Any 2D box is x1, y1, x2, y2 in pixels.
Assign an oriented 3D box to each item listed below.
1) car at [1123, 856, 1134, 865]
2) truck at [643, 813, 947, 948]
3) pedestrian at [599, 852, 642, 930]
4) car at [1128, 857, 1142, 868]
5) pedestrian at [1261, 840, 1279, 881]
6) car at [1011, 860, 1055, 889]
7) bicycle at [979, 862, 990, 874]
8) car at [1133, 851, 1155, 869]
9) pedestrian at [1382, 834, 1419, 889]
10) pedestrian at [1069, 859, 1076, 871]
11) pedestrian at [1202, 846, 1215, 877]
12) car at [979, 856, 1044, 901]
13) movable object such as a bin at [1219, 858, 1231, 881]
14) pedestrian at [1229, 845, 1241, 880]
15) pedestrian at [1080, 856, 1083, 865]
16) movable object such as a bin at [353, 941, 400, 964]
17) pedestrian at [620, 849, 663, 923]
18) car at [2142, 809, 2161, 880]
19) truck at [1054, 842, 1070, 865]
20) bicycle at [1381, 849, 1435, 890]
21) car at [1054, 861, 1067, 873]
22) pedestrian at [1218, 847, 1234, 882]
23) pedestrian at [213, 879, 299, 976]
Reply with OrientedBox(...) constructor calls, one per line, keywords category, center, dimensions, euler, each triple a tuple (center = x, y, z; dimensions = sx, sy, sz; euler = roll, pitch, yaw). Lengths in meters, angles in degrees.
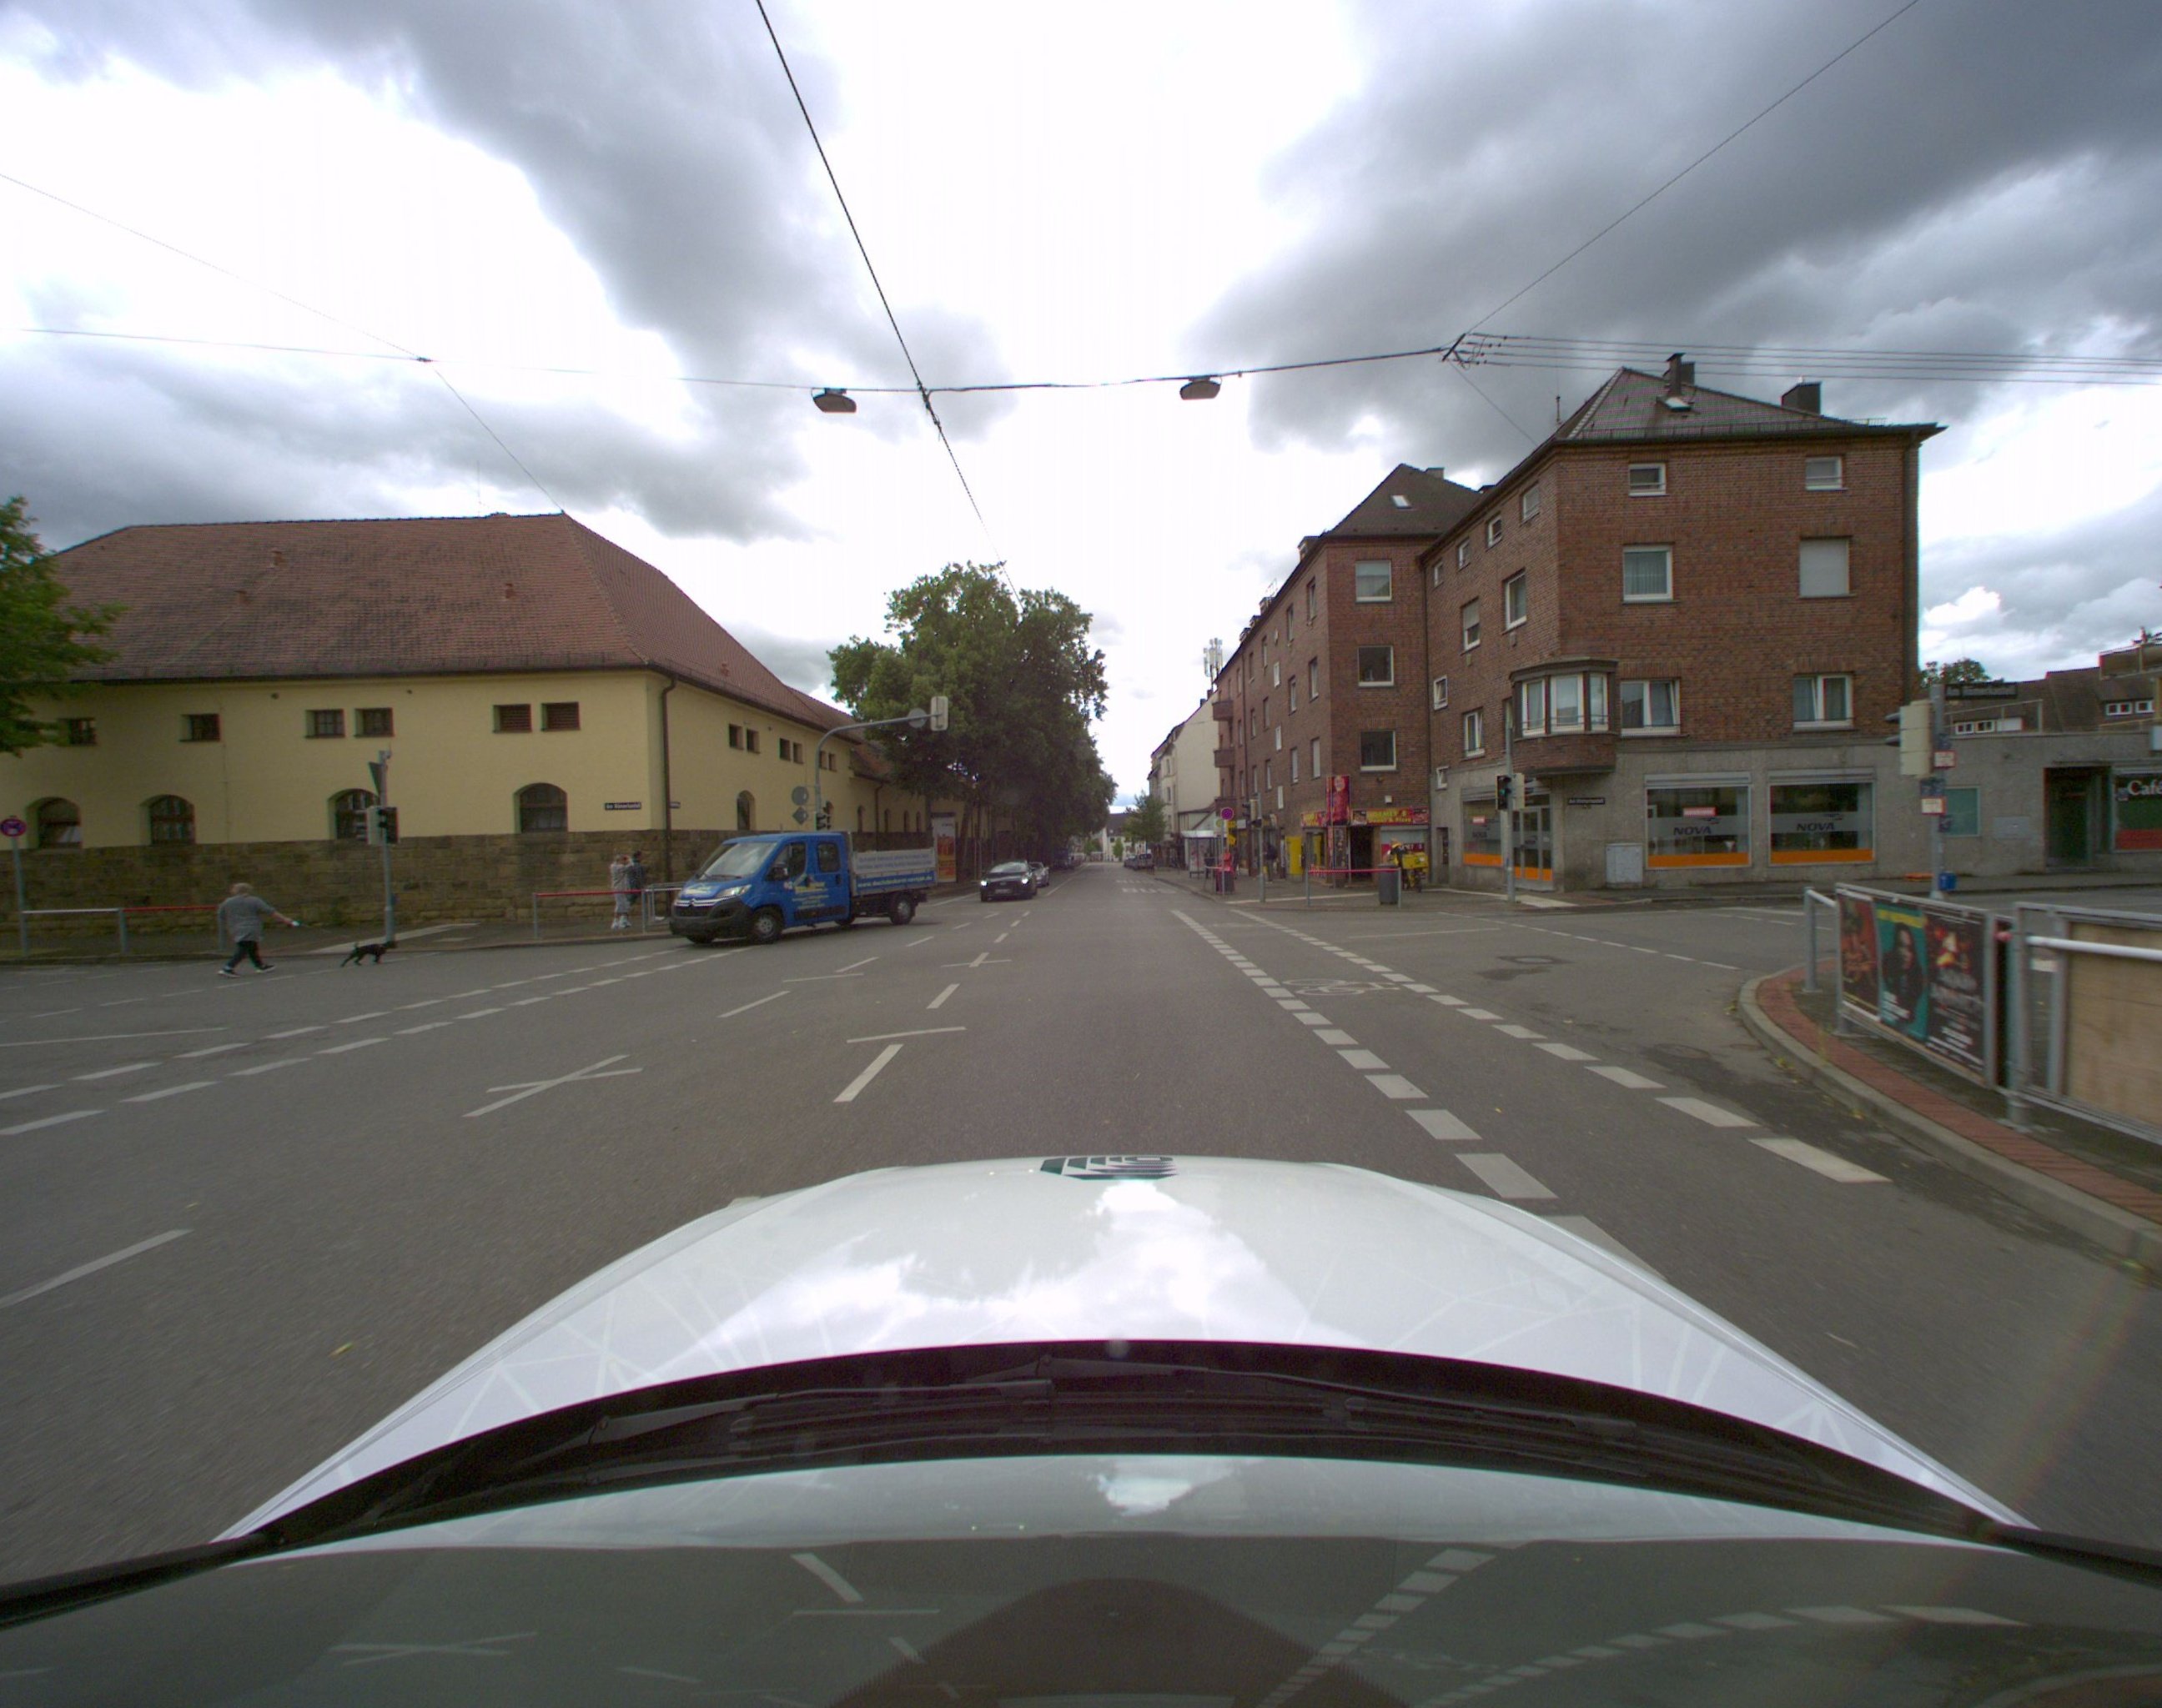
OrientedBox(category="car", center=(8.406, 1.135, 144.266), dimensions=(1.664, 1.547, 3.754), euler=(-1, 0, -1))
OrientedBox(category="truck", center=(-5.897, 0.464, 18.027), dimensions=(2.274, 2.427, 6.450), euler=(-3, 0, 27))
OrientedBox(category="pedestrian", center=(-10.805, 0.847, 19.111), dimensions=(0.562, 1.777, 0.717), euler=(-1, 0, 1))
OrientedBox(category="car", center=(7.534, 1.206, 114.483), dimensions=(1.664, 1.547, 3.754), euler=(-1, 0, -1))
OrientedBox(category="pedestrian", center=(8.264, 0.275, 35.542), dimensions=(0.644, 1.750, 0.779), euler=(-1, 0, 7))
OrientedBox(category="car", center=(-2.373, 1.004, 41.434), dimensions=(1.678, 1.275, 4.098), euler=(-4, -1, 3))
OrientedBox(category="bicycle", center=(-9.104, 1.332, 76.820), dimensions=(0.594, 1.091, 2.196), euler=(1, 0, 3))
OrientedBox(category="car", center=(7.003, 0.623, 91.042), dimensions=(1.988, 1.936, 4.916), euler=(-1, 0, -1))
OrientedBox(category="pedestrian", center=(10.004, 0.242, 25.522), dimensions=(0.785, 1.656, 0.772), euler=(-4, 0, 2))
OrientedBox(category="pedestrian", center=(-1.086, 1.505, 108.348), dimensions=(0.677, 1.536, 0.605), euler=(-1, -1, -30))
OrientedBox(category="pedestrian", center=(7.213, 0.424, 46.046), dimensions=(0.666, 1.727, 0.765), euler=(-1, 0, 7))
OrientedBox(category="car", center=(-2.459, 0.835, 29.607), dimensions=(1.696, 1.414, 4.195), euler=(-3, 0, 3))
OrientedBox(category="movable object such as a bin", center=(6.759, 0.733, 38.155), dimensions=(0.449, 1.056, 0.412), euler=(-2, -1, 21))
OrientedBox(category="pedestrian", center=(8.036, 0.445, 42.529), dimensions=(0.477, 1.765, 0.458), euler=(-1, -1, 1))
OrientedBox(category="pedestrian", center=(0.214, 1.561, 190.444), dimensions=(0.631, 2.014, 0.785), euler=(-1, 0, 3))
OrientedBox(category="movable object such as a bin", center=(-12.967, 1.811, 14.995), dimensions=(0.303, 0.347, 0.585), euler=(-2, 0, 34))
OrientedBox(category="pedestrian", center=(-10.864, 0.779, 20.139), dimensions=(0.562, 1.777, 0.842), euler=(-1, 0, 1))
OrientedBox(category="car", center=(26.526, -0.306, 17.517), dimensions=(4.499, 1.611, 1.991), euler=(-2, -1, 4))
OrientedBox(category="truck", center=(-2.909, -0.069, 127.163), dimensions=(2.223, 3.346, 7.450), euler=(-1, 0, 1))
OrientedBox(category="bicycle", center=(9.999, 0.463, 25.011), dimensions=(0.757, 1.193, 2.392), euler=(-1, 0, 2))
OrientedBox(category="car", center=(-2.946, 1.878, 117.773), dimensions=(1.829, 1.578, 3.754), euler=(-1, 0, -1))
OrientedBox(category="pedestrian", center=(6.855, 0.504, 38.504), dimensions=(0.560, 1.637, 0.684), euler=(-1, 0, 21))
OrientedBox(category="pedestrian", center=(-14.140, 1.240, 13.982), dimensions=(0.561, 1.566, 0.844), euler=(-1, 0, 7))
